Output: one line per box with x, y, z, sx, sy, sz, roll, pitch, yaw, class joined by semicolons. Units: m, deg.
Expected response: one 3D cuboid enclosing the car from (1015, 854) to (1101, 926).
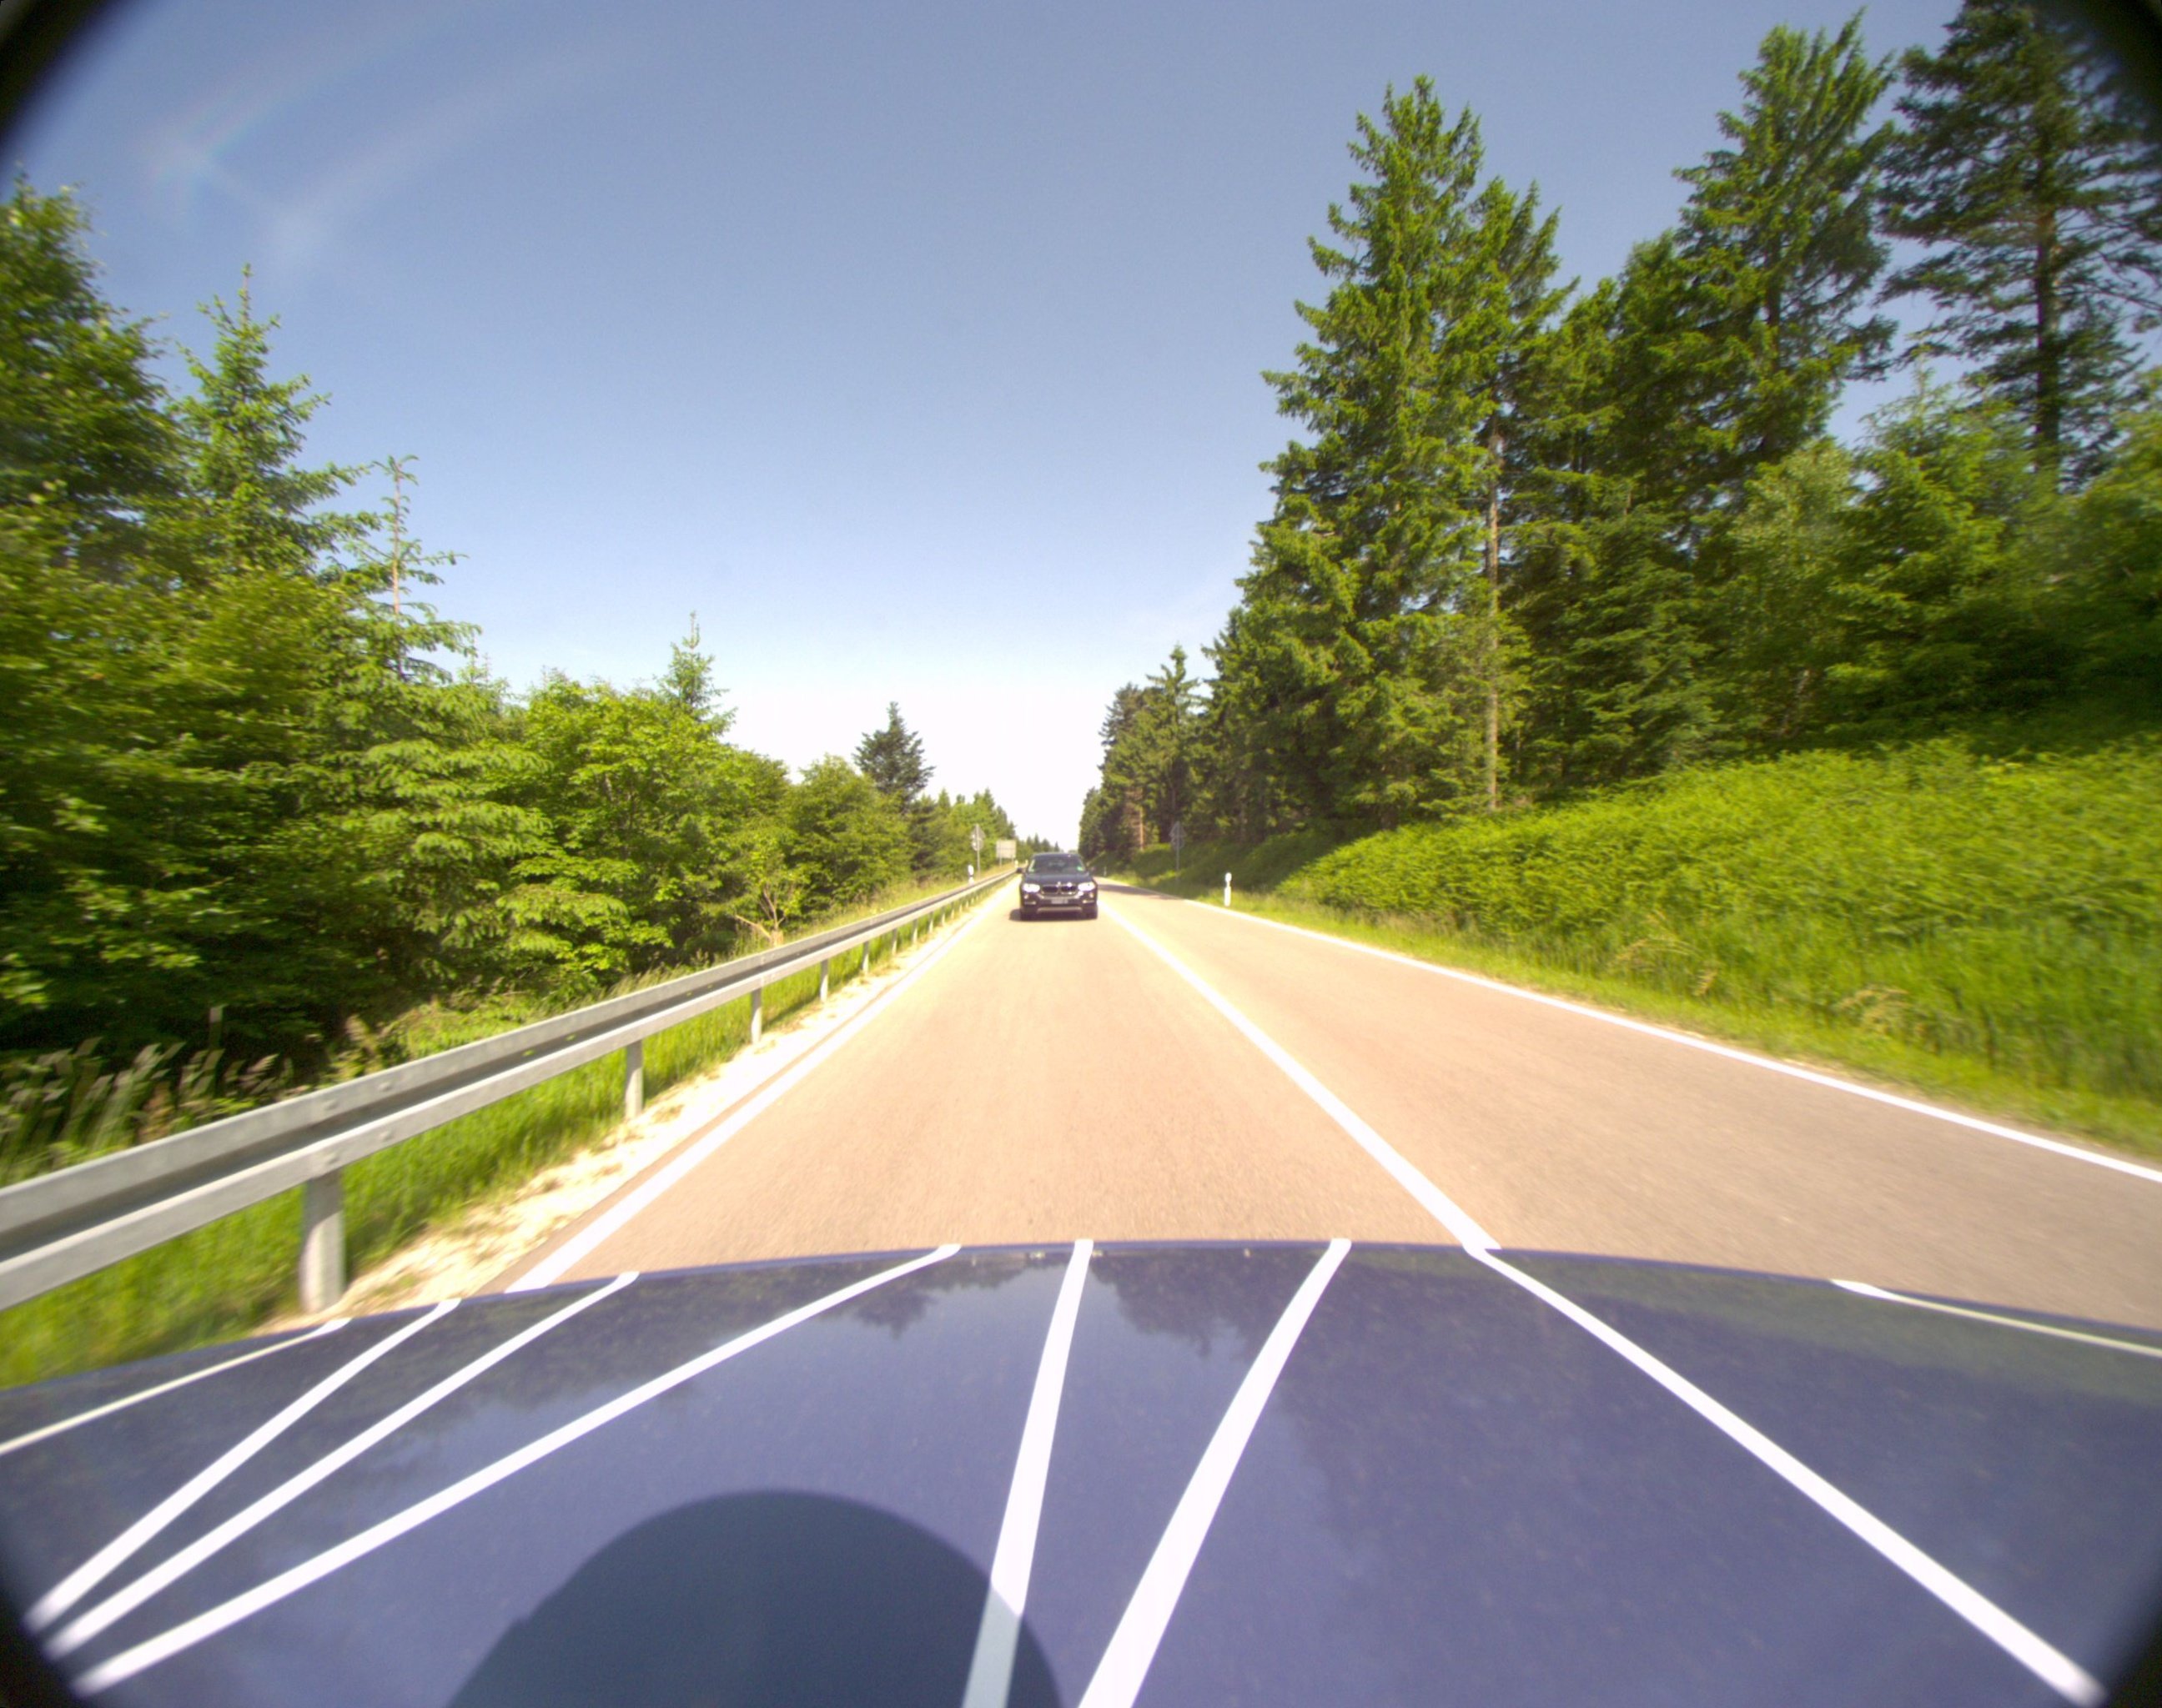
-0.623;0.871;21.020;1.999;1.676;5.935;-1;0;-2;car
